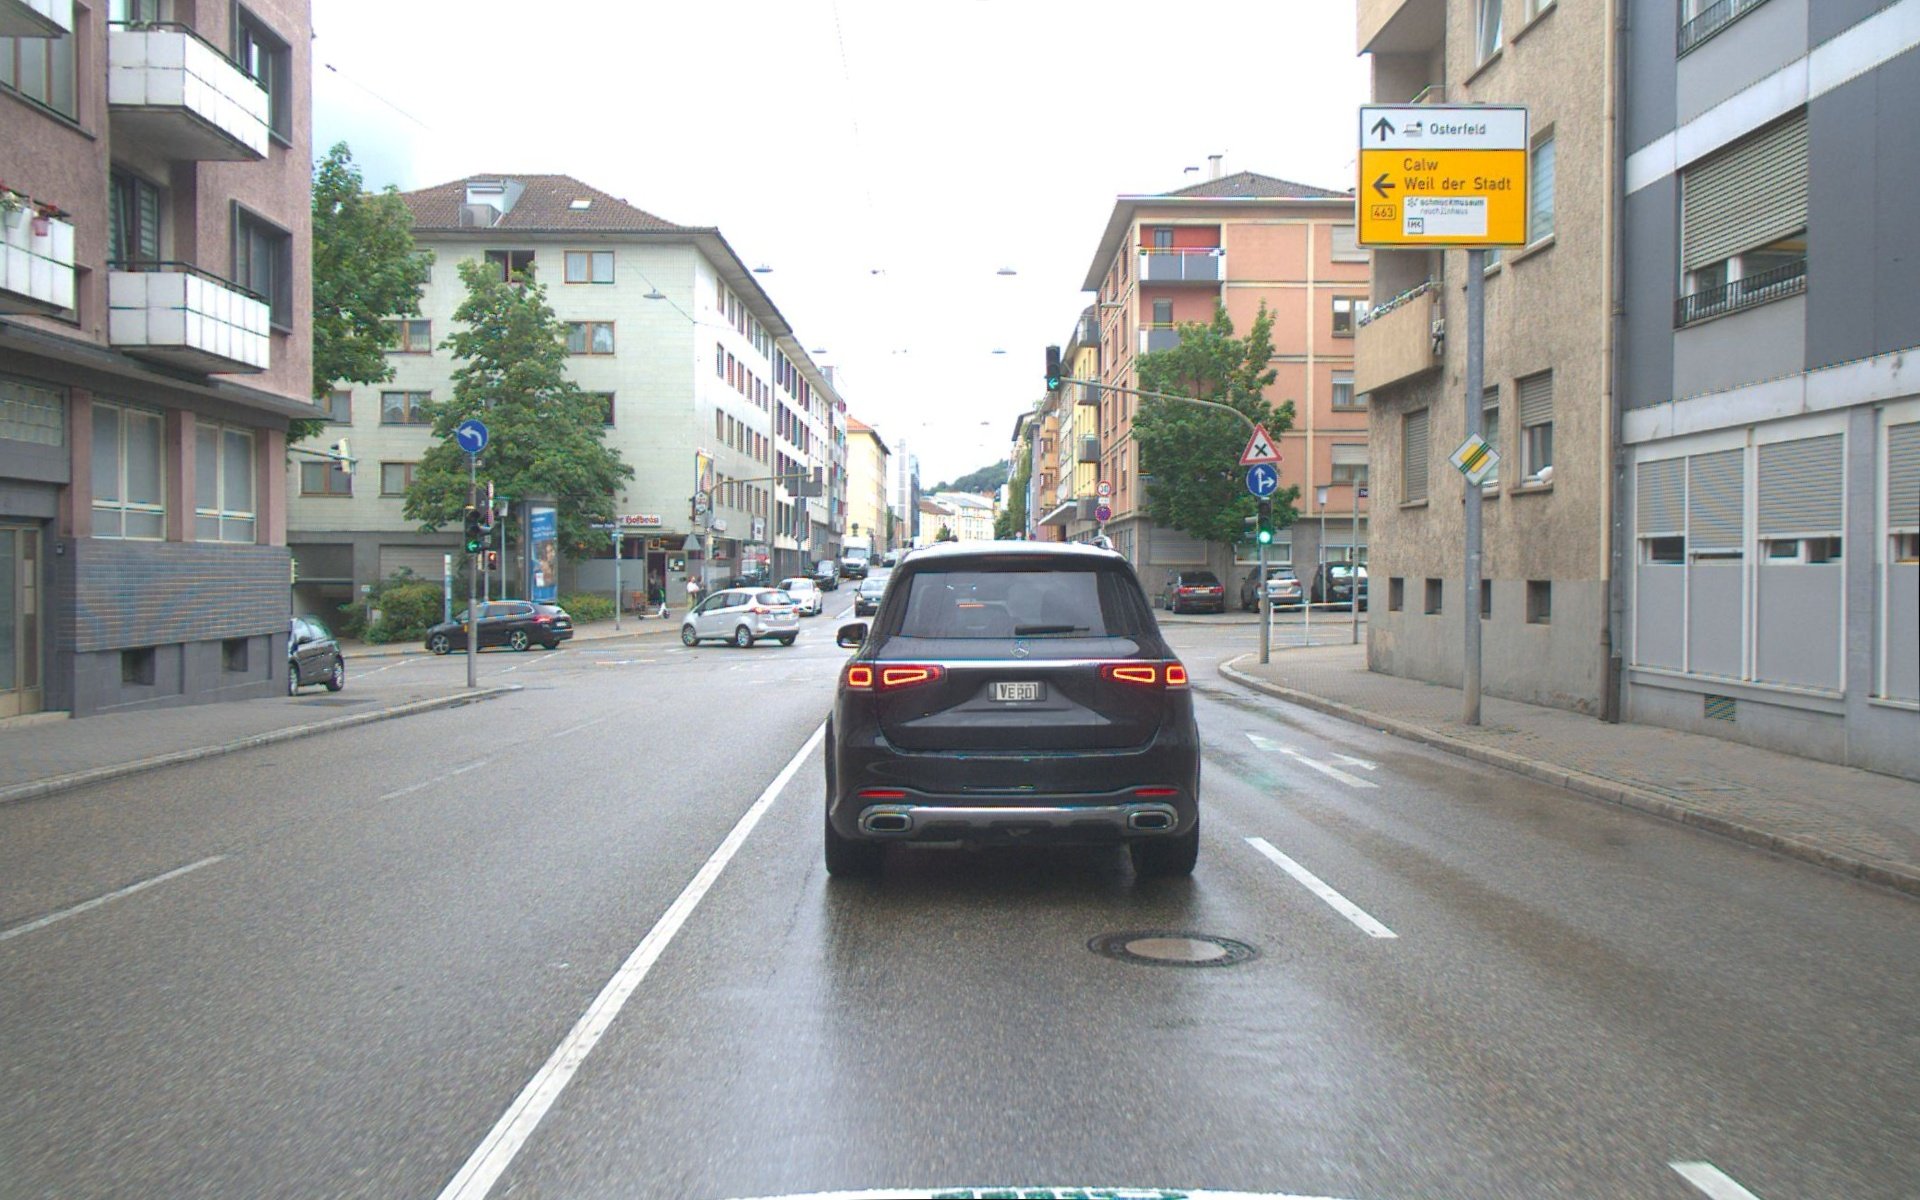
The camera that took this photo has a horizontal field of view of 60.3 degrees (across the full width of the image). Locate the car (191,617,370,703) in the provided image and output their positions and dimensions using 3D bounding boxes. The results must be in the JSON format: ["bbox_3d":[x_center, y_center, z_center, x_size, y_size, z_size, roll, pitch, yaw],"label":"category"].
[{"bbox_3d":[-12.559,1.069,30.828,1.697,1.383,3.999,-3,0,-1],"label":"car"}]

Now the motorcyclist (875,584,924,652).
[{"bbox_3d":[-1.344,0.384,36.887,0.891,1.478,0.742,-1,0,-19],"label":"motorcyclist"}]

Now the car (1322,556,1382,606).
[{"bbox_3d":[14.346,-0.704,60.741,1.944,1.749,4.004,-1,1,11],"label":"car"}]

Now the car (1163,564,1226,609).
[{"bbox_3d":[8.686,-0.536,61.576,1.806,1.581,4.797,-1,1,2],"label":"car"}]

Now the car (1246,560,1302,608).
[{"bbox_3d":[11.596,-0.624,61.244,1.944,1.689,4.004,-1,1,10],"label":"car"}]

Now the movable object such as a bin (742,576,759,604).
[{"bbox_3d":[-10.106,-0.473,79.822,0.683,1.338,0.782,1,0,-1],"label":"movable object such as a bin"}]

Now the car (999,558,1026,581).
[{"bbox_3d":[4.075,-2.307,126.813,1.974,1.590,5.156,1,0,3],"label":"car"}]

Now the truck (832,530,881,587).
[{"bbox_3d":[-7.611,-3.009,122.245,2.749,3.899,8.146,1,0,2],"label":"truck"}]

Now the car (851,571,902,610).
[{"bbox_3d":[-3.376,-0.421,67.632,1.806,1.515,4.001,-2,1,0],"label":"car"}]

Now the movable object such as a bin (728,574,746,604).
[{"bbox_3d":[-10.114,-0.515,75.041,0.683,1.338,0.782,1,0,-1],"label":"movable object such as a bin"}]

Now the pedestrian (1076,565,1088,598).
[{"bbox_3d":[5.918,-0.893,80.298,0.509,1.565,0.569,1,4,0],"label":"pedestrian"}]

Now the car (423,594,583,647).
[{"bbox_3d":[-13.314,0.595,48.309,4.169,1.478,1.724,0,0,3],"label":"car"}]

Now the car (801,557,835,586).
[{"bbox_3d":[-8.374,-1.666,97.764,1.688,1.631,4.000,-1,1,-1],"label":"car"}]

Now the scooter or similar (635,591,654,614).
[{"bbox_3d":[-12.172,0.084,63.703,0.452,0.857,1.313,1,0,-22],"label":"scooter or similar"}]

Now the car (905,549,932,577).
[{"bbox_3d":[-3.558,-3.163,142.159,2.022,2.280,4.621,-1,0,1],"label":"car"}]

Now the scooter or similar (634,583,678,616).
[{"bbox_3d":[-11.391,-0.002,61.935,1.540,1.211,0.496,1,-1,-30],"label":"scooter or similar"}]

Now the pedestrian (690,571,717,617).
[{"bbox_3d":[-9.510,-0.226,61.292,0.702,1.675,0.749,-1,4,-36],"label":"pedestrian"}]

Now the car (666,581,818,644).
[{"bbox_3d":[-6.101,0.341,46.020,4.190,1.627,2.014,-1,1,44],"label":"car"}]

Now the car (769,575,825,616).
[{"bbox_3d":[-6.562,-0.191,66.900,1.806,1.539,4.001,-2,1,0],"label":"car"}]

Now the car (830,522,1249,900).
[{"bbox_3d":[0.290,0.530,10.247,1.980,1.770,4.745,-1,0,-2],"label":"car"}]

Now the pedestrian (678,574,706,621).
[{"bbox_3d":[-9.806,-0.091,60.503,0.702,1.675,0.749,-1,4,-36],"label":"pedestrian"}]

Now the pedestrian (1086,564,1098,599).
[{"bbox_3d":[6.112,-0.860,76.672,0.469,1.593,0.558,1,4,0],"label":"pedestrian"}]

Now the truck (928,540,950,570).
[{"bbox_3d":[-3.012,-6.407,236.541,2.749,3.899,8.146,1,0,2],"label":"truck"}]

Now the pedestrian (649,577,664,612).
[{"bbox_3d":[-12.507,-0.223,68.097,0.508,1.424,0.578,1,-1,-4],"label":"pedestrian"}]

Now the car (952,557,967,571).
[{"bbox_3d":[-0.075,-4.739,219.060,1.806,1.703,4.001,-1,1,1],"label":"car"}]

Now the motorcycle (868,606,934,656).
[{"bbox_3d":[-1.343,0.674,36.907,0.849,1.024,2.239,-1,1,-19],"label":"motorcycle"}]
